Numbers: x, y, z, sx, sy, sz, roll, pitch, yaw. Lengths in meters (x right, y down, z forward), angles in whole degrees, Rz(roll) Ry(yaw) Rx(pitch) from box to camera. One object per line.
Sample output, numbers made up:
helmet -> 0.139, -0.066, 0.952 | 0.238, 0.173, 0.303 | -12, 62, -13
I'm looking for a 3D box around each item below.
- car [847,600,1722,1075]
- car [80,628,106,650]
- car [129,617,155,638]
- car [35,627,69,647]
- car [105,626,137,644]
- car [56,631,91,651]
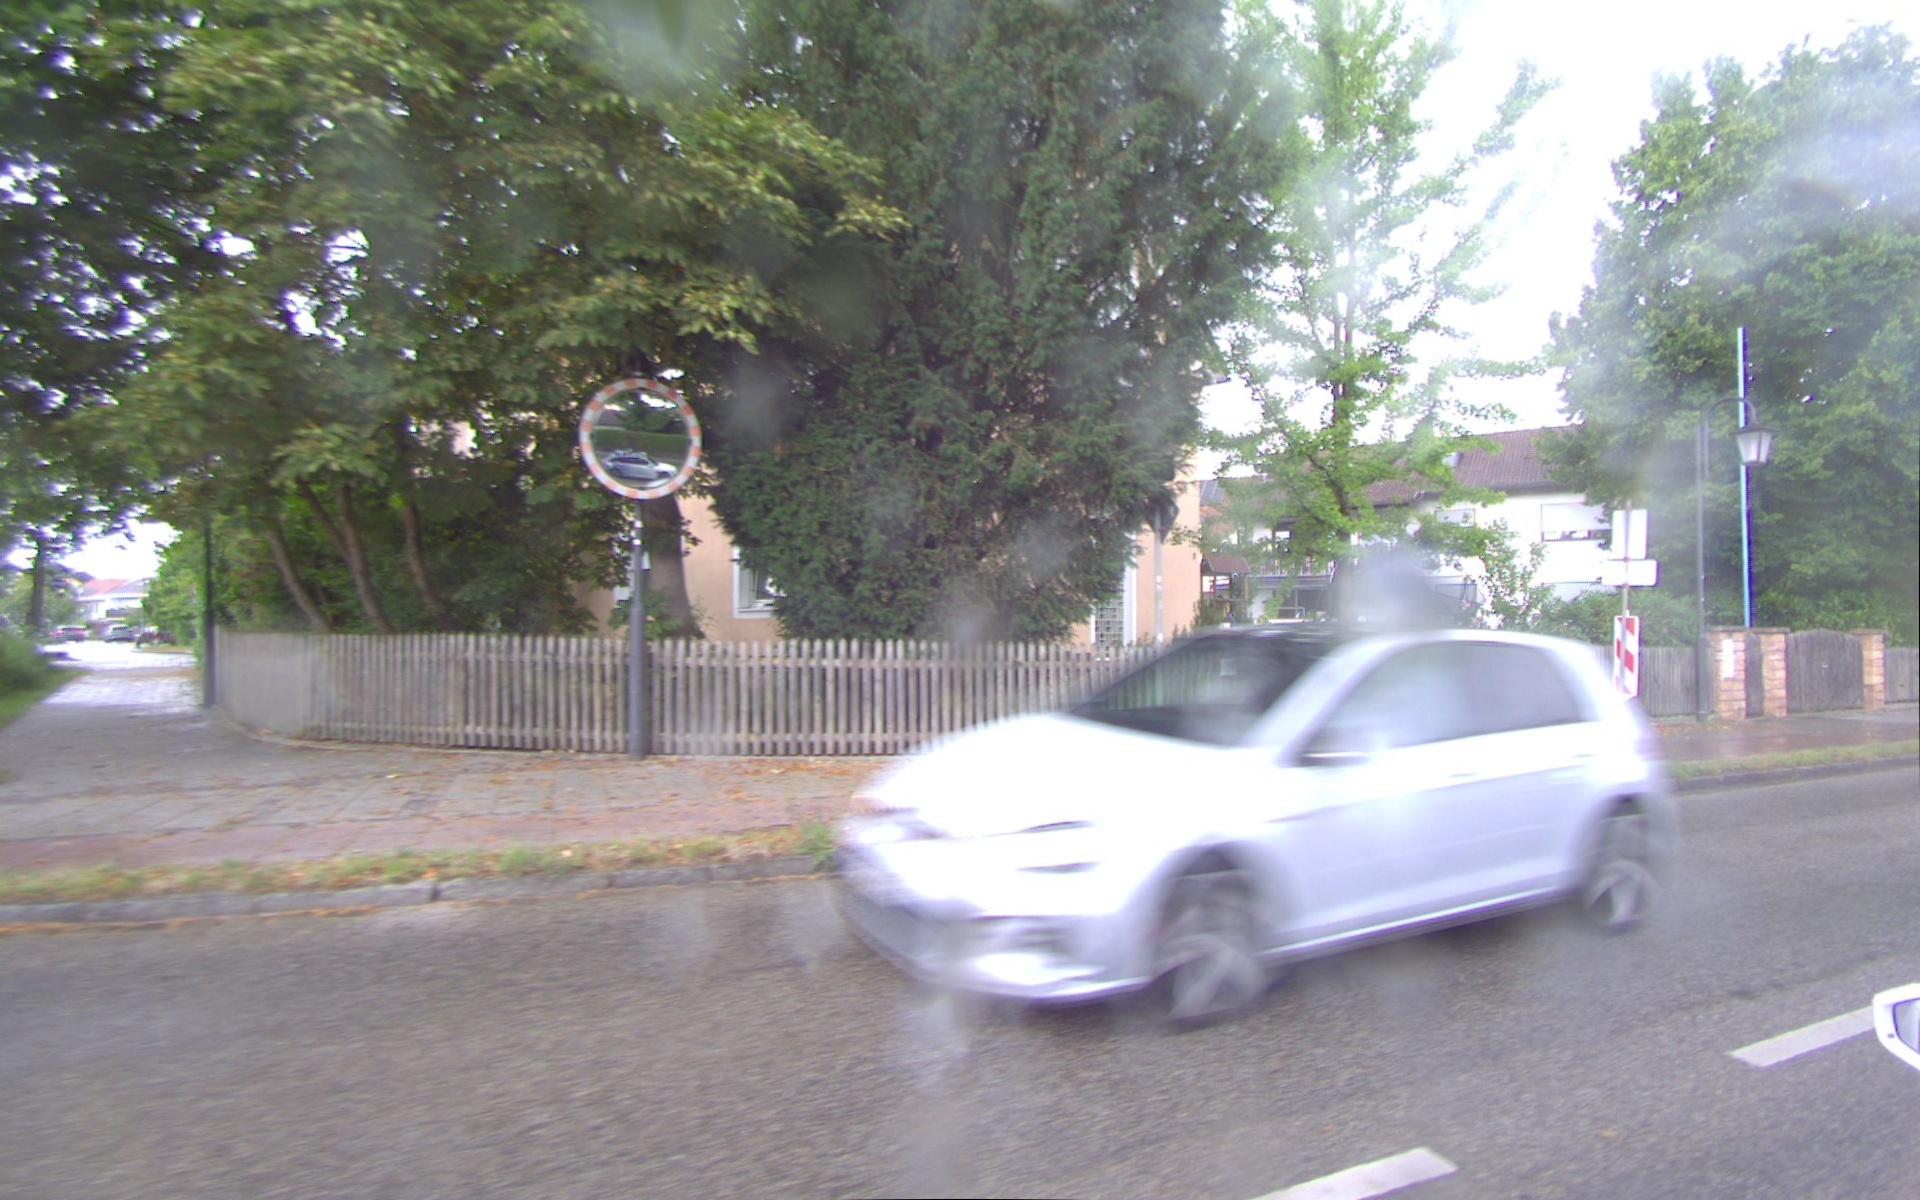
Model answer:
car -> 1.632, 0.811, 4.818 | 3.950, 1.461, 1.710 | 2, 0, -28
car -> -89.701, 4.044, 103.928 | 1.985, 2.040, 3.951 | 2, 0, -42
car -> -87.015, 2.960, 106.836 | 1.985, 2.040, 3.951 | 2, 0, -42
car -> -72.492, 2.943, 80.180 | 1.986, 1.461, 3.949 | 2, 0, -43
car -> -74.845, 3.110, 89.615 | 1.986, 1.461, 3.949 | 2, 0, -43
car -> -77.694, 3.580, 88.017 | 3.946, 1.461, 1.988 | 2, 0, 45
